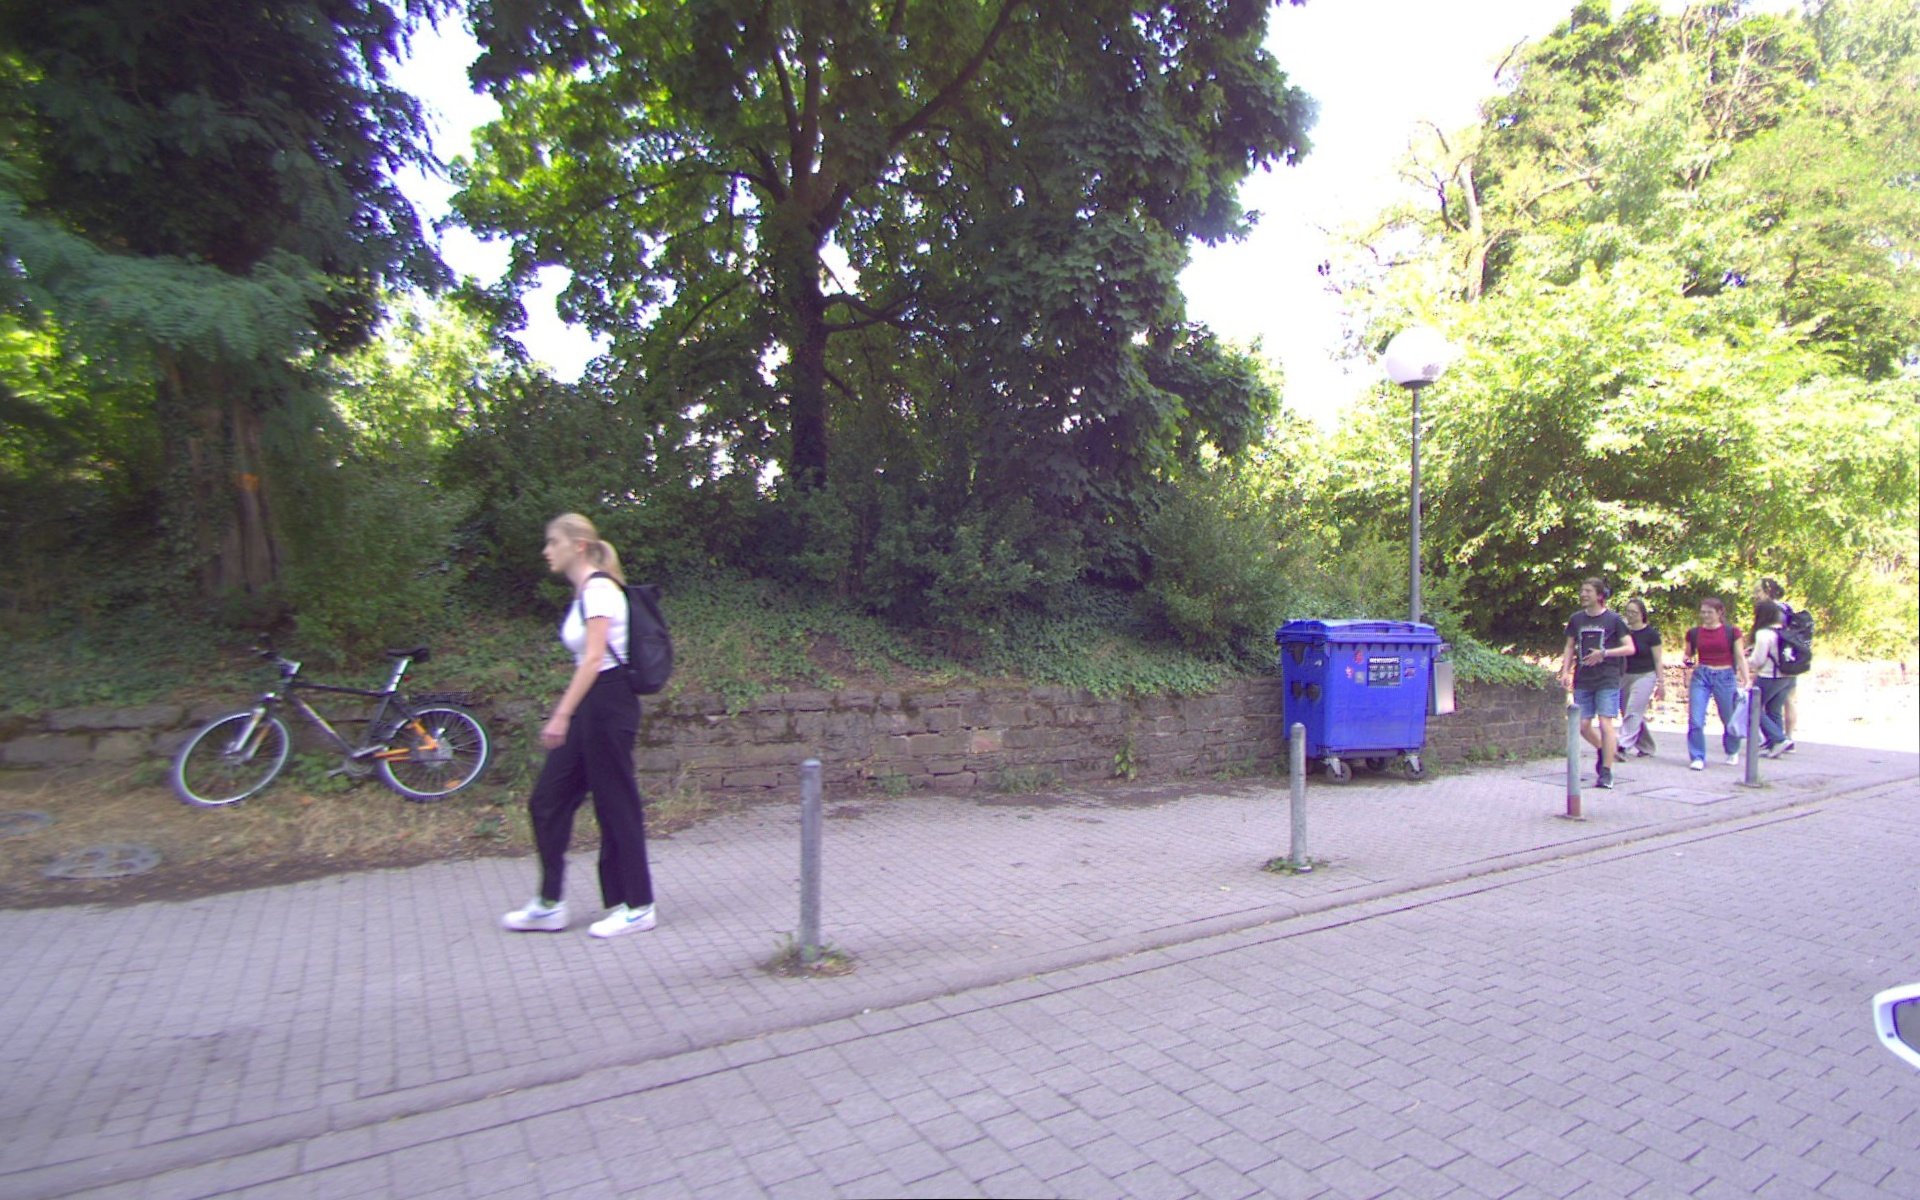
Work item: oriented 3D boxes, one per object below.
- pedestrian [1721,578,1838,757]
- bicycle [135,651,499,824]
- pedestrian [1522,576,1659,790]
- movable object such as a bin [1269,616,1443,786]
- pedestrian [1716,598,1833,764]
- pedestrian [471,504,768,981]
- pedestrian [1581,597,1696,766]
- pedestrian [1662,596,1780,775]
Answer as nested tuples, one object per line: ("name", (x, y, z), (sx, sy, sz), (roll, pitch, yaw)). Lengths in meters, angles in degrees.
("pedestrian", (8.976, 0.717, 11.012), (0.678, 1.868, 0.821), (2, -1, -34))
("bicycle", (-3.697, 0.795, 5.903), (1.712, 0.922, 0.421), (3, -1, -17))
("pedestrian", (5.547, 0.696, 8.831), (1.011, 1.751, 0.677), (2, -1, -37))
("movable object such as a bin", (3.438, 0.842, 8.741), (1.221, 1.354, 0.708), (1, 2, -22))
("pedestrian", (8.503, 0.816, 10.496), (0.678, 1.642, 0.776), (2, -1, -34))
("pedestrian", (-1.441, 0.533, 4.255), (0.993, 1.751, 0.677), (2, 0, -36))
("pedestrian", (6.975, 0.806, 10.322), (0.969, 1.642, 0.677), (2, -1, -36))
("pedestrian", (7.416, 0.802, 9.788), (0.905, 1.642, 0.678), (2, -1, -36))
